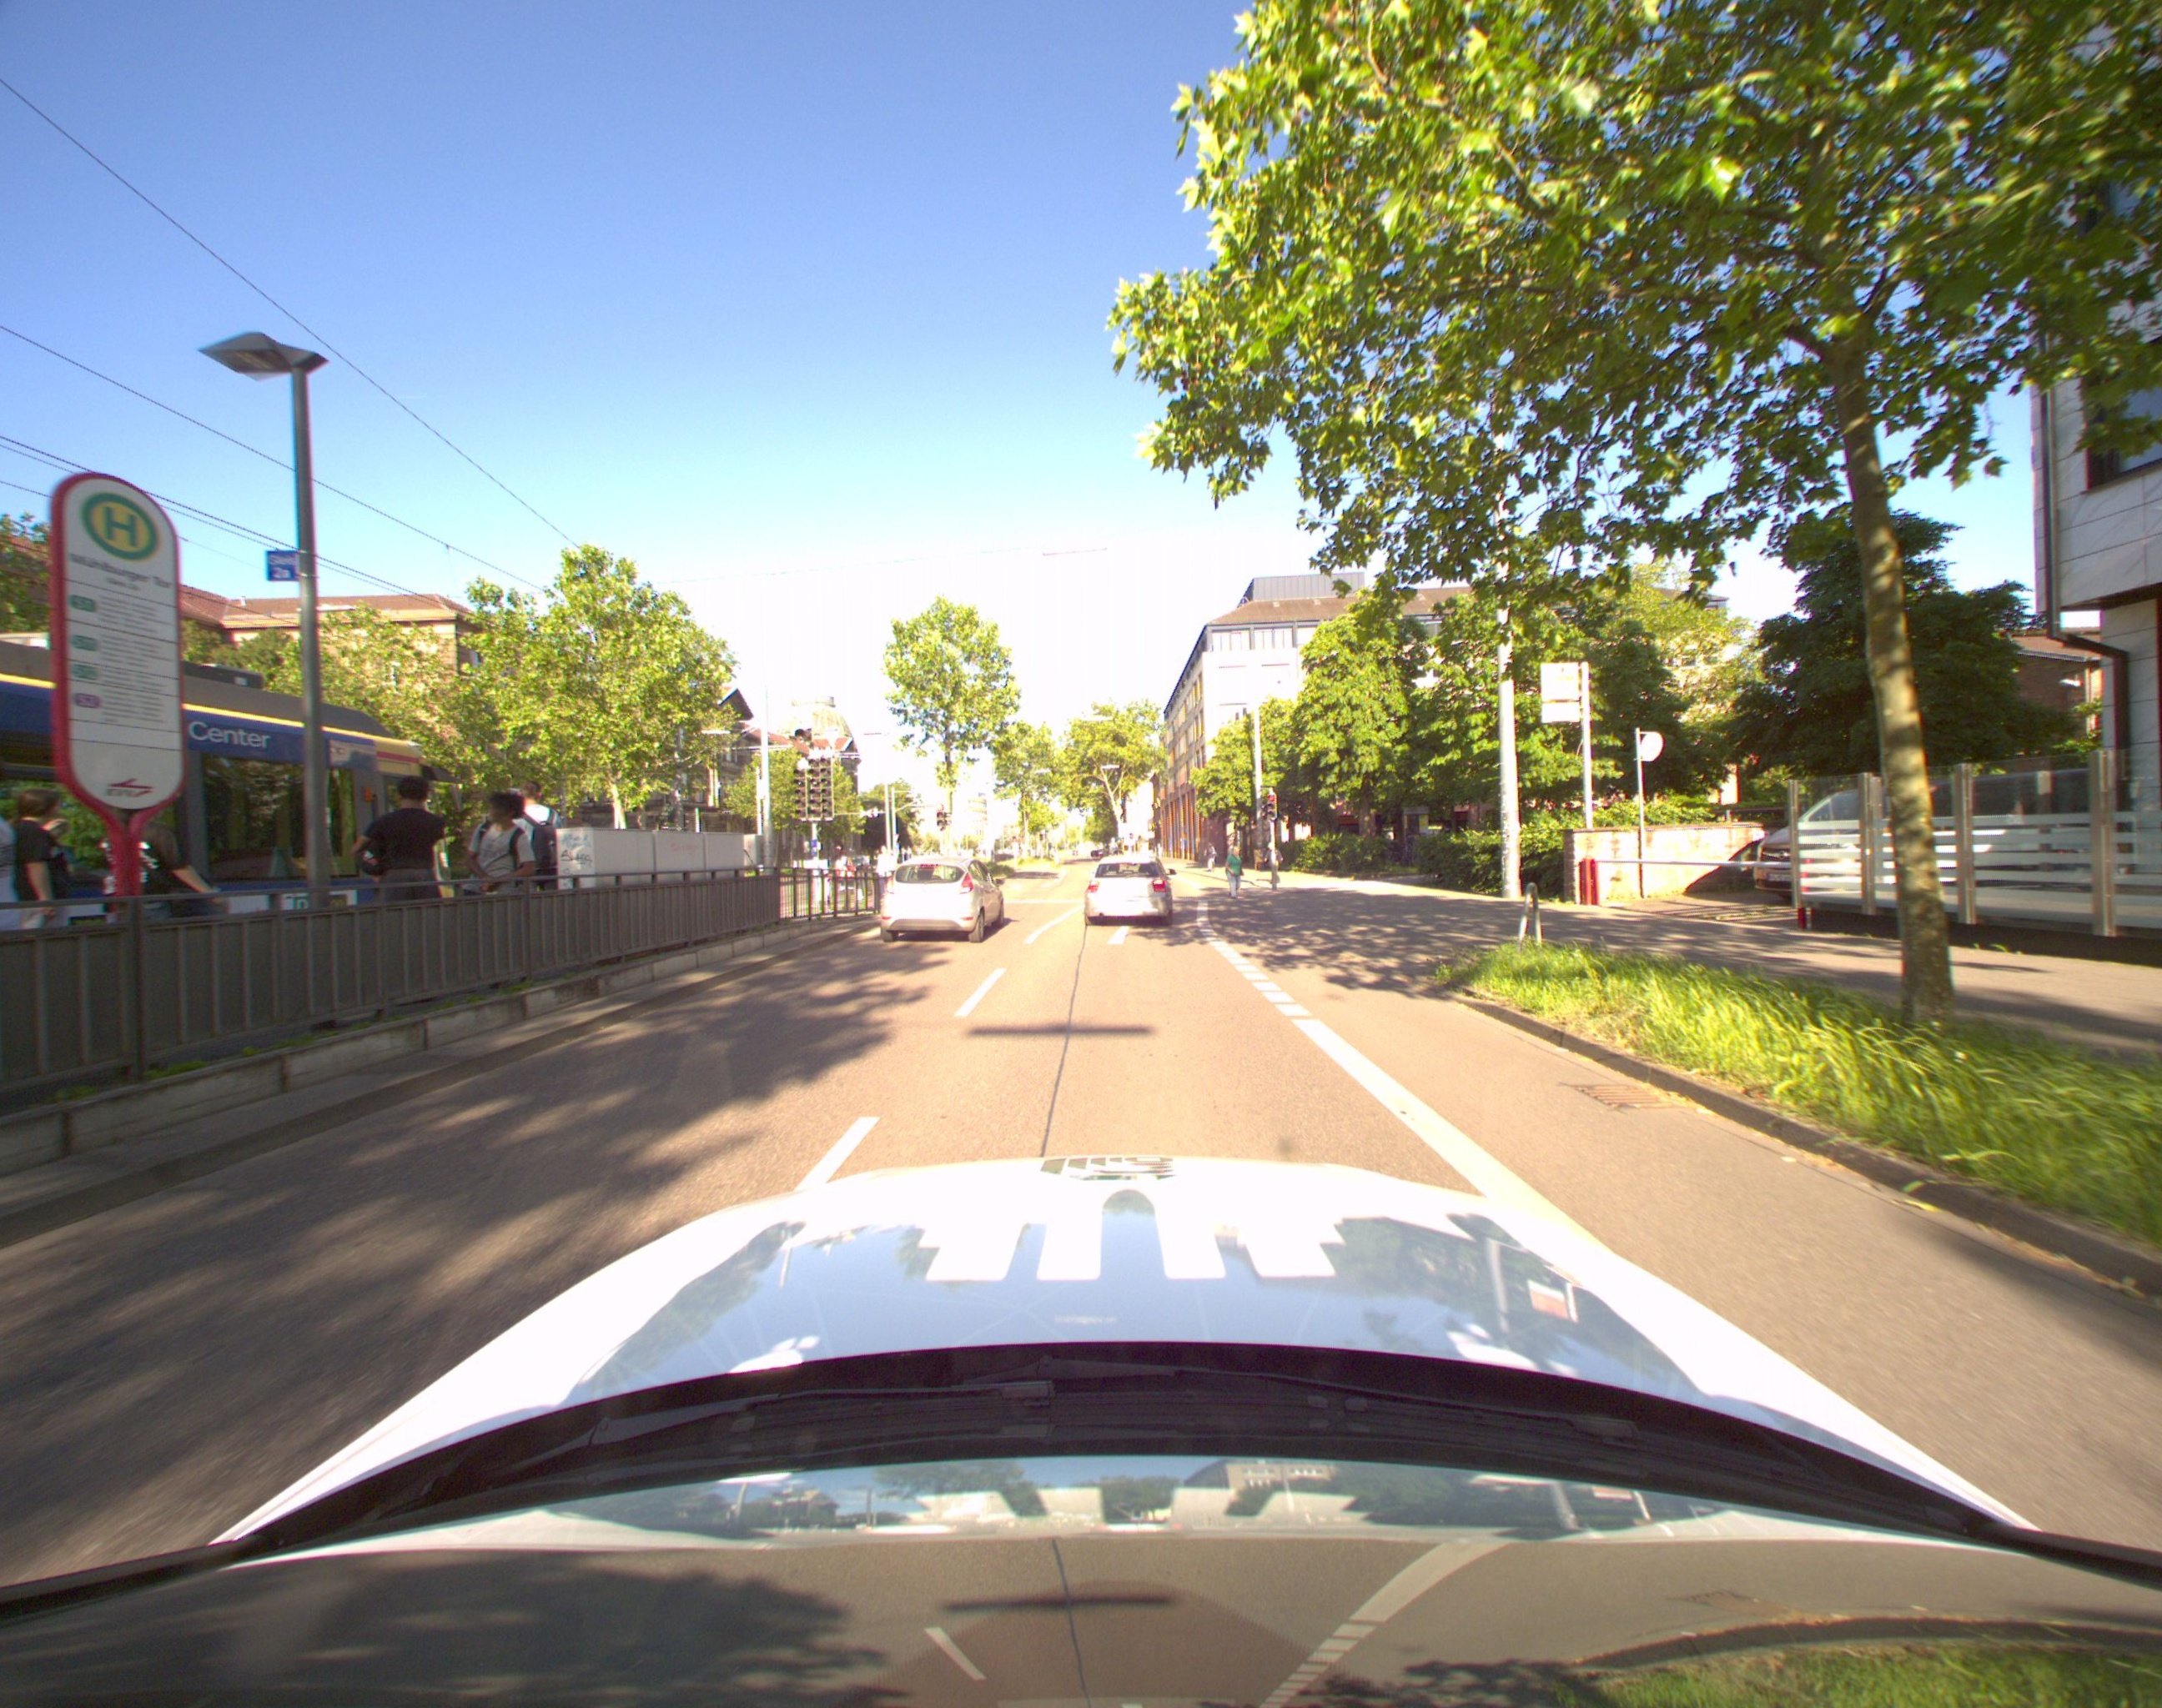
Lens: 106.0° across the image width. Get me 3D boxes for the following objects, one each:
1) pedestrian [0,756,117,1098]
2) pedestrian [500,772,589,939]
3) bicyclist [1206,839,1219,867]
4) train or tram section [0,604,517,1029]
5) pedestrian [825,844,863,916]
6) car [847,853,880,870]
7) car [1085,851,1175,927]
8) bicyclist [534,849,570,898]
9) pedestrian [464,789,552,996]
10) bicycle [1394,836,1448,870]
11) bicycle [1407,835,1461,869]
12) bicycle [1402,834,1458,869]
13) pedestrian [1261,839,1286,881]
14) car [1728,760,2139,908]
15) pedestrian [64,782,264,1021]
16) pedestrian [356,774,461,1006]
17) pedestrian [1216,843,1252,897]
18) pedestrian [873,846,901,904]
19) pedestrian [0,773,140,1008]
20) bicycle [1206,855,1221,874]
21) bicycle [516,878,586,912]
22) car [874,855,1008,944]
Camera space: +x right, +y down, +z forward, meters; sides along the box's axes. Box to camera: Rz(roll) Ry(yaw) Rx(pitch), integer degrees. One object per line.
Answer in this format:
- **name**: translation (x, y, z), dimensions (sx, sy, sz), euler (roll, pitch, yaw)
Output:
- **pedestrian**: translation (-5.644, 0.367, 4.218), dimensions (0.504, 1.702, 0.611), euler (-2, 0, -3)
- **pedestrian**: translation (-5.780, 0.012, 8.799), dimensions (0.546, 1.734, 0.539), euler (-2, 0, -3)
- **bicyclist**: translation (7.898, -0.054, 48.862), dimensions (0.654, 1.657, 0.767), euler (-2, 0, 10)
- **train or tram section**: translation (-9.762, -0.301, 5.207), dimensions (2.904, 3.260, 13.115), euler (0, -1, 1)
- **pedestrian**: translation (-5.346, 0.575, 18.379), dimensions (0.629, 1.557, 0.646), euler (-2, 0, -3)
- **car**: translation (-22.168, 0.729, 83.051), dimensions (1.984, 1.625, 4.005), euler (-2, 0, 5)
- **car**: translation (1.145, 0.671, 17.655), dimensions (1.721, 1.390, 3.846), euler (0, 1, 6)
- **bicyclist**: translation (-15.307, 0.559, 23.576), dimensions (0.563, 1.386, 0.650), euler (0, -1, 1)
- **pedestrian**: translation (-5.077, 0.318, 7.218), dimensions (0.552, 1.734, 0.533), euler (-2, 0, -39)
- **bicycle**: translation (14.419, -0.060, 34.591), dimensions (1.987, 1.314, 0.574), euler (-3, 0, 3)
- **bicycle**: translation (14.983, -0.093, 34.598), dimensions (1.987, 1.314, 0.574), euler (-3, 0, 3)
- **bicycle**: translation (14.559, -0.102, 34.005), dimensions (1.987, 1.314, 0.574), euler (-3, 0, 3)
- **pedestrian**: translation (7.549, 0.216, 31.943), dimensions (0.620, 1.629, 0.950), euler (-1, 0, 35)
- **car**: translation (14.302, -0.319, 13.902), dimensions (4.880, 1.984, 1.913), euler (-4, 0, 1)
- **pedestrian**: translation (-7.007, 0.341, 6.265), dimensions (0.631, 1.702, 0.746), euler (-2, 0, -3)
- **pedestrian**: translation (-5.304, 0.262, 6.451), dimensions (0.552, 1.734, 0.534), euler (-2, 0, -36)
- **pedestrian**: translation (4.577, 0.474, 24.329), dimensions (0.821, 1.575, 0.743), euler (0, 1, 32)
- **pedestrian**: translation (-5.552, 0.592, 23.318), dimensions (0.638, 1.619, 0.640), euler (-2, -2, -3)
- **pedestrian**: translation (-7.853, 0.268, 6.225), dimensions (0.607, 1.702, 0.545), euler (-2, 0, -3)
- **bicycle**: translation (7.937, 0.632, 48.872), dimensions (0.826, 1.041, 1.880), euler (-2, 0, 10)
- **bicycle**: translation (-15.316, 1.174, 23.553), dimensions (1.556, 0.963, 0.651), euler (0, -1, 1)
- **car**: translation (-2.407, 0.737, 14.880), dimensions (1.654, 1.409, 3.634), euler (-1, 0, 3)
